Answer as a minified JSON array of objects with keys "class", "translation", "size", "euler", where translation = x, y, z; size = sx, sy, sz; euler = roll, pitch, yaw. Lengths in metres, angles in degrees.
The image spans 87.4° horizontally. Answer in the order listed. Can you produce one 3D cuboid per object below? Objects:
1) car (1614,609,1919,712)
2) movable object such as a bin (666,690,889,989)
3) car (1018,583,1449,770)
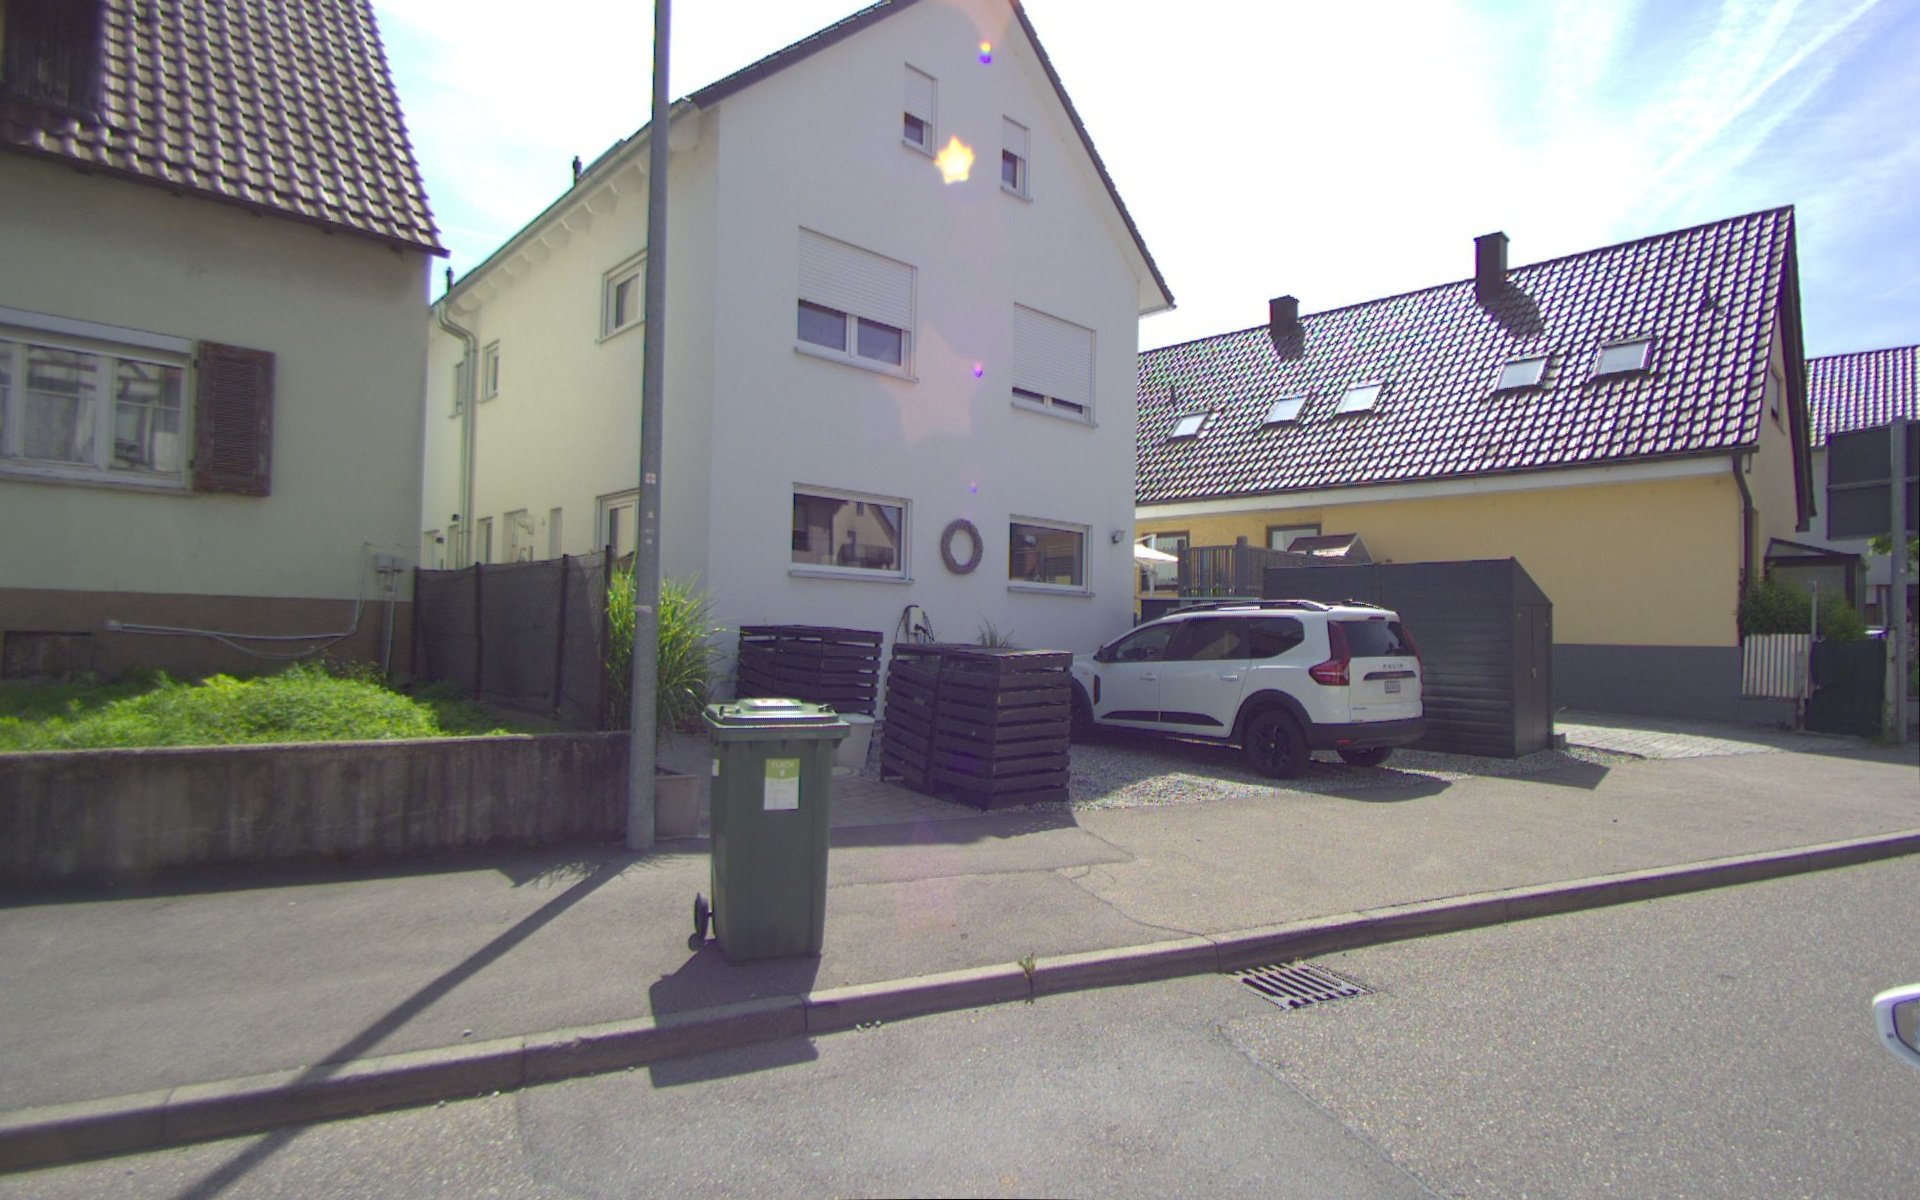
[{"class":"car","translation":[17.341,1.186,21.650],"size":[2.156,1.921,5.066],"euler":[2,-1,-38]},{"class":"movable object such as a bin","translation":[-0.839,0.990,4.486],"size":[0.806,1.091,0.824],"euler":[1,0,-23]},{"class":"car","translation":[2.809,0.711,11.233],"size":[1.981,1.644,4.370],"euler":[2,-1,-36]}]
